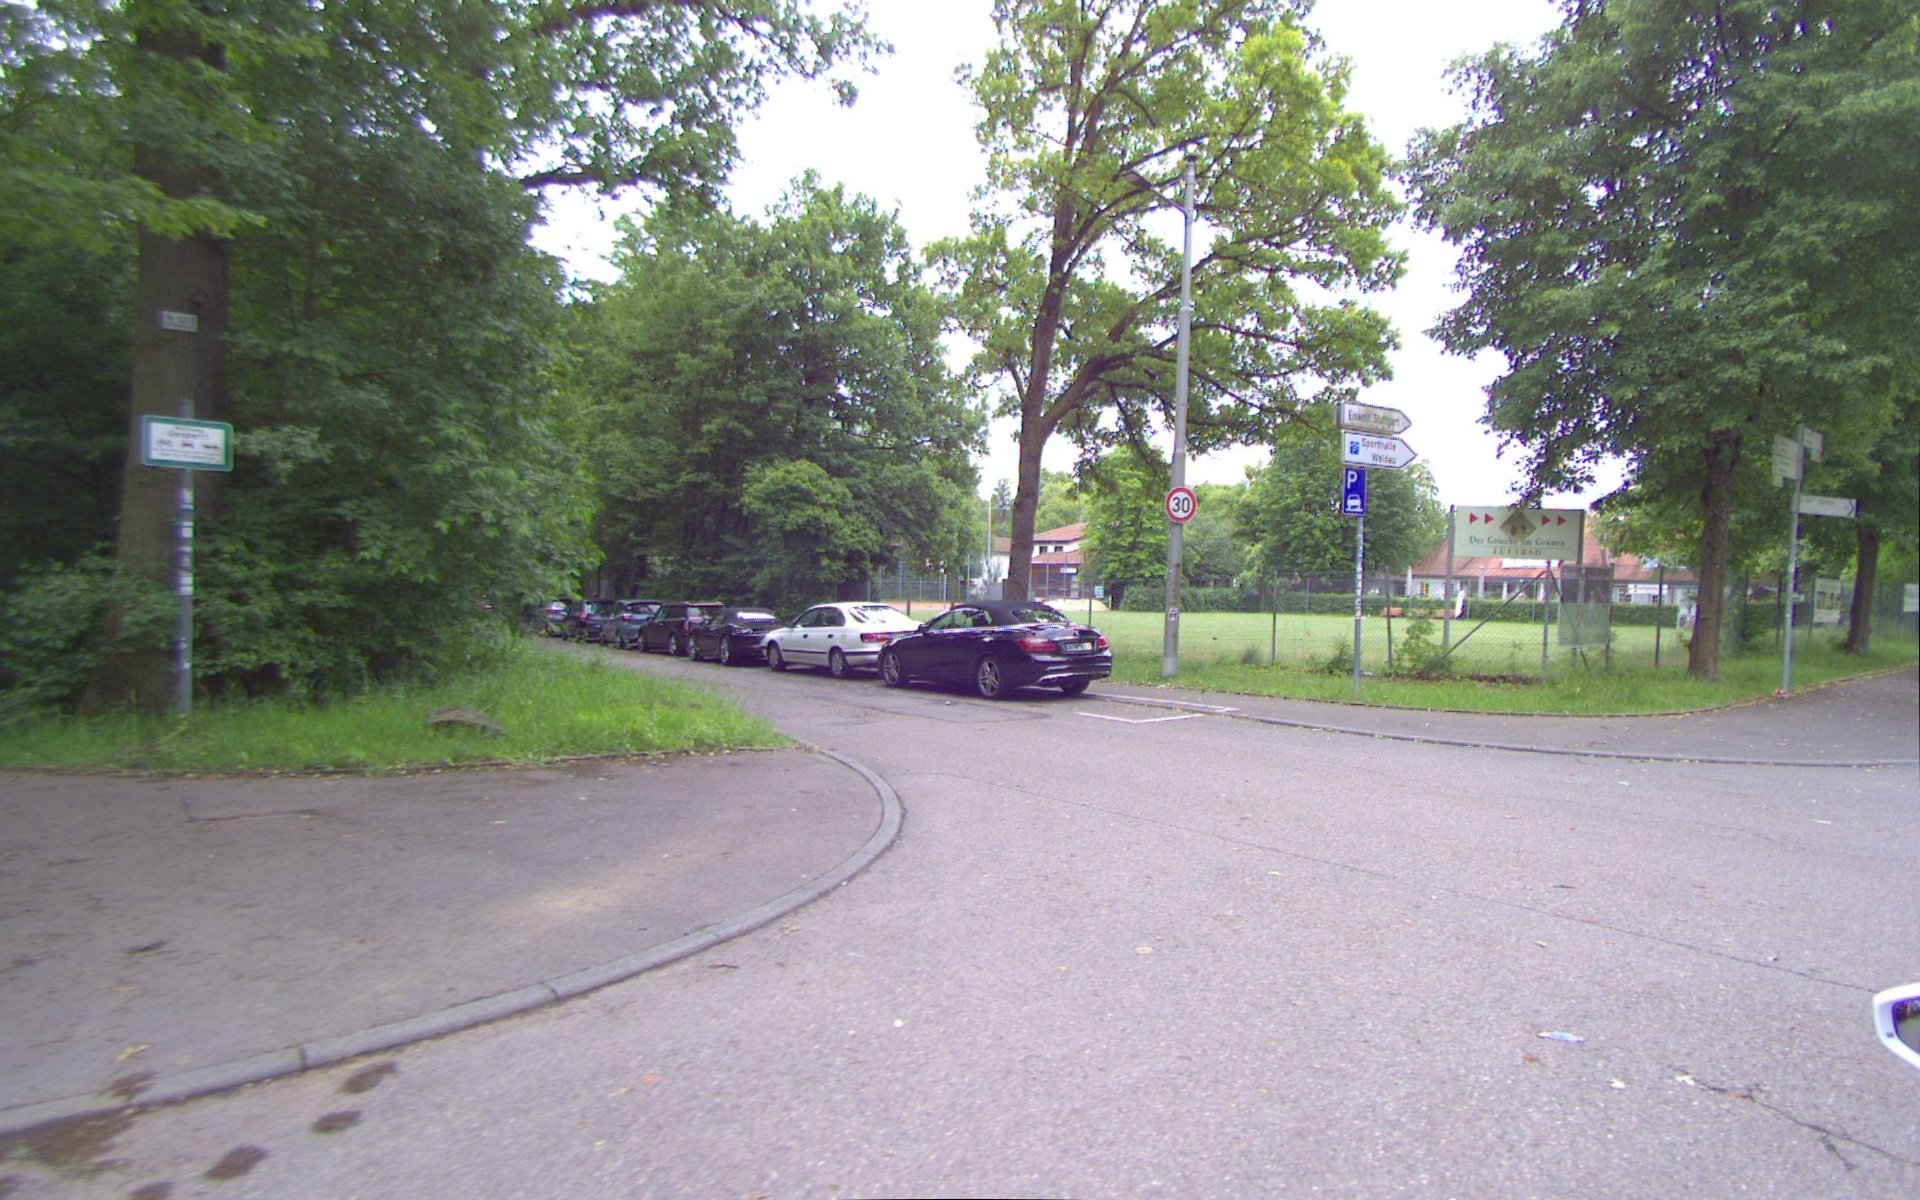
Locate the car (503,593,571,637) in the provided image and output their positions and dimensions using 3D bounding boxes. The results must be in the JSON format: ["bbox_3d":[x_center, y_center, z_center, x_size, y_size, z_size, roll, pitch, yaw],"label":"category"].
[{"bbox_3d":[-16.684,0.555,39.540,1.606,1.614,3.481,-1,1,-38],"label":"car"}]

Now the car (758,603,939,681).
[{"bbox_3d":[-2.330,0.773,20.065,1.676,1.377,4.175,-1,0,-38],"label":"car"}]

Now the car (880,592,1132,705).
[{"bbox_3d":[0.563,0.680,15.877,1.754,1.514,4.285,-1,0,-35],"label":"car"}]

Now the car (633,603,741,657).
[{"bbox_3d":[-7.655,0.802,27.996,1.676,1.377,3.592,-1,0,-38],"label":"car"}]

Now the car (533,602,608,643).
[{"bbox_3d":[-13.852,0.780,35.663,1.557,1.377,3.481,-1,0,-38],"label":"car"}]

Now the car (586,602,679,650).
[{"bbox_3d":[-10.277,0.791,31.389,1.676,1.377,3.592,-1,0,-38],"label":"car"}]

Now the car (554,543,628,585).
[{"bbox_3d":[-15.750,-1.499,42.837,1.941,1.640,3.599,2,0,-38],"label":"car"}]

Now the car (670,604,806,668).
[{"bbox_3d":[-5.308,0.804,23.744,1.676,1.377,3.826,-1,0,-38],"label":"car"}]
